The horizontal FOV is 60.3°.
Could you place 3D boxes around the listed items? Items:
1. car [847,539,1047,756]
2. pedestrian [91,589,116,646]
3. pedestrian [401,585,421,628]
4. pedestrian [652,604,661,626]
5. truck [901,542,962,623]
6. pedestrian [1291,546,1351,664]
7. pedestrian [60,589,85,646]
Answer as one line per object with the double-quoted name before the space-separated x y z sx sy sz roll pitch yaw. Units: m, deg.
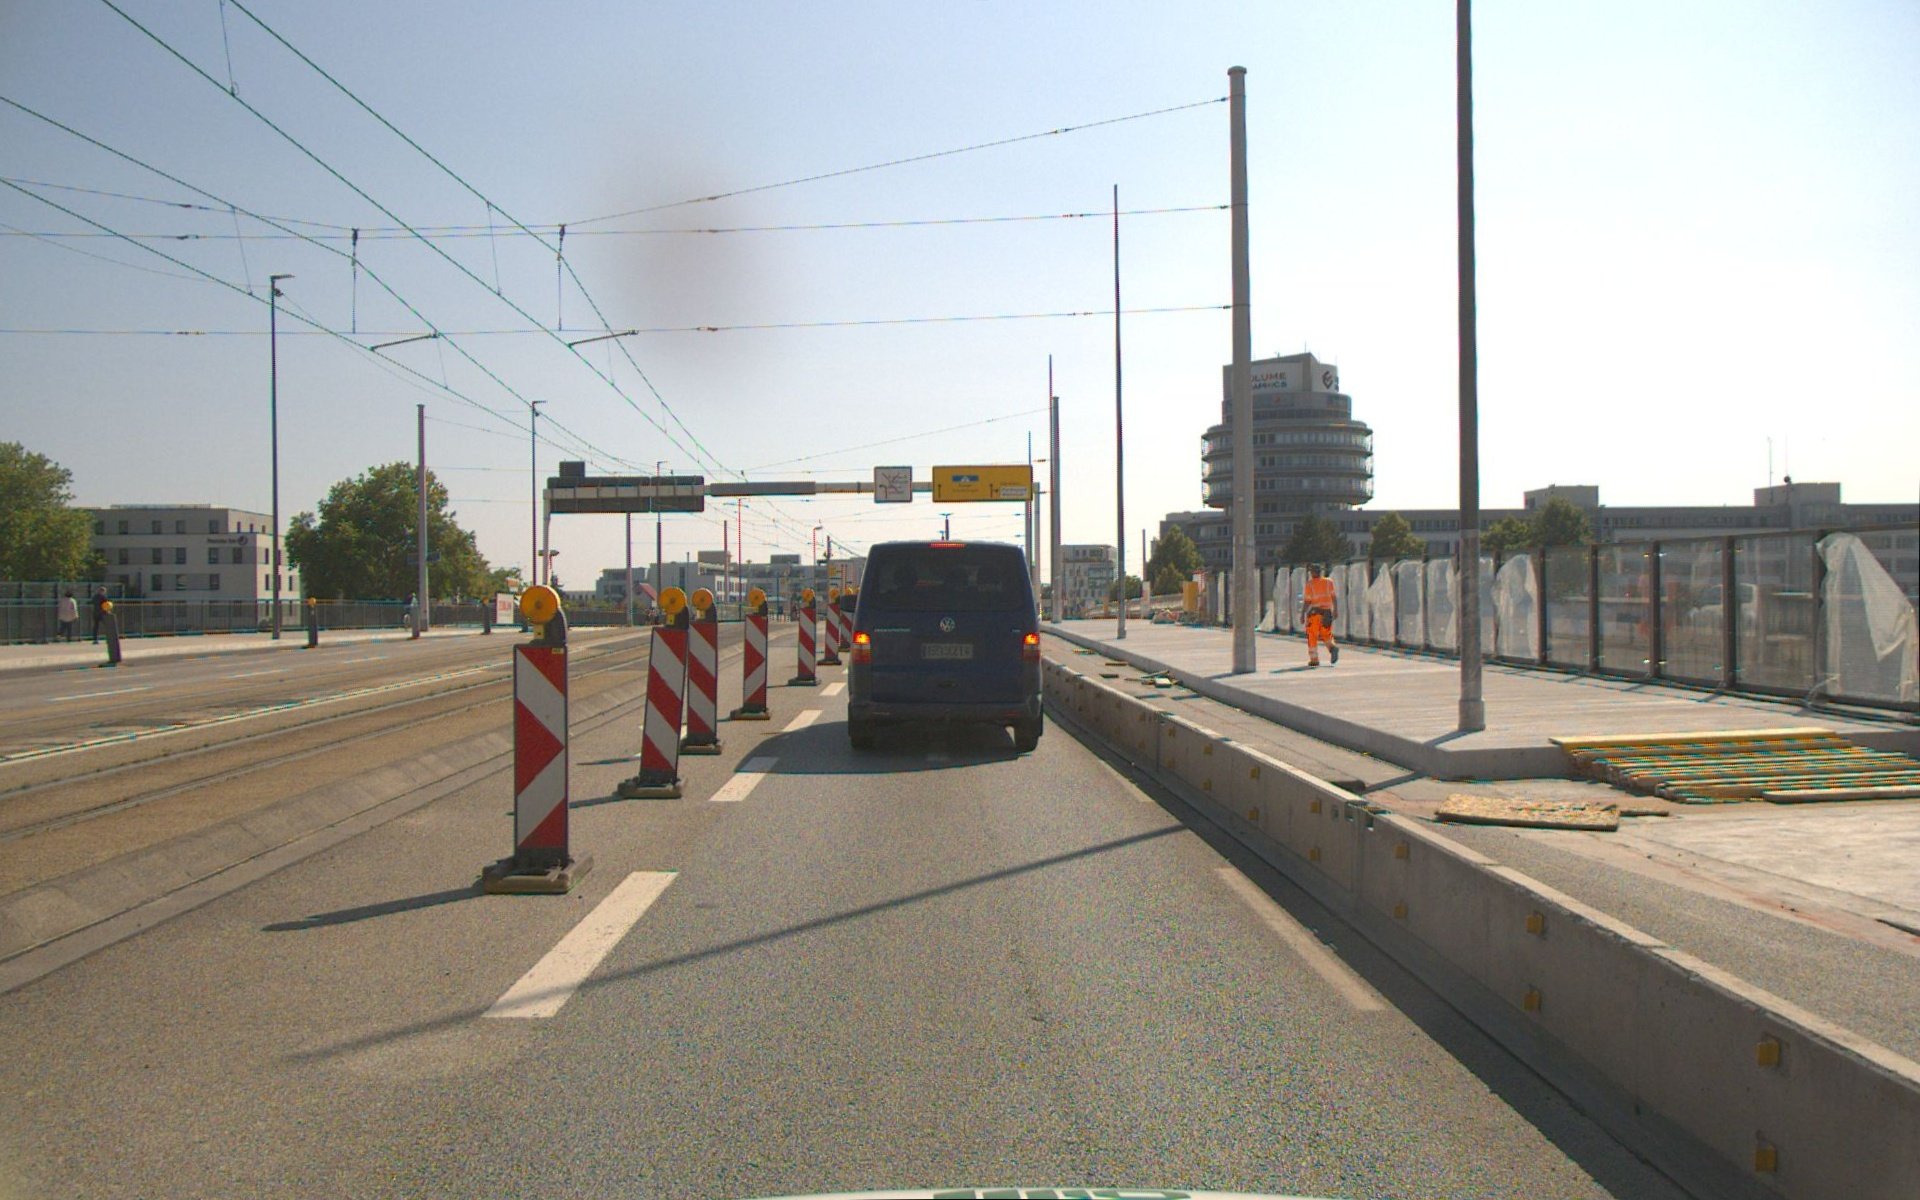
"car" -0.190 0.390 16.922 1.779 1.939 4.053 -1 1 -2
"pedestrian" -26.168 0.544 50.527 0.485 1.724 0.474 0 -1 -1
"pedestrian" -24.645 0.301 74.266 0.621 1.926 0.752 0 0 -1
"pedestrian" -25.357 1.271 138.293 0.621 1.805 0.752 0 0 -1
"truck" -1.254 -0.819 71.403 2.410 3.189 11.214 -1 1 -1
"pedestrian" 6.130 0.085 28.143 0.766 1.969 0.799 -2 -1 -1
"pedestrian" -27.178 0.542 50.653 0.485 1.724 0.474 0 -1 -1
